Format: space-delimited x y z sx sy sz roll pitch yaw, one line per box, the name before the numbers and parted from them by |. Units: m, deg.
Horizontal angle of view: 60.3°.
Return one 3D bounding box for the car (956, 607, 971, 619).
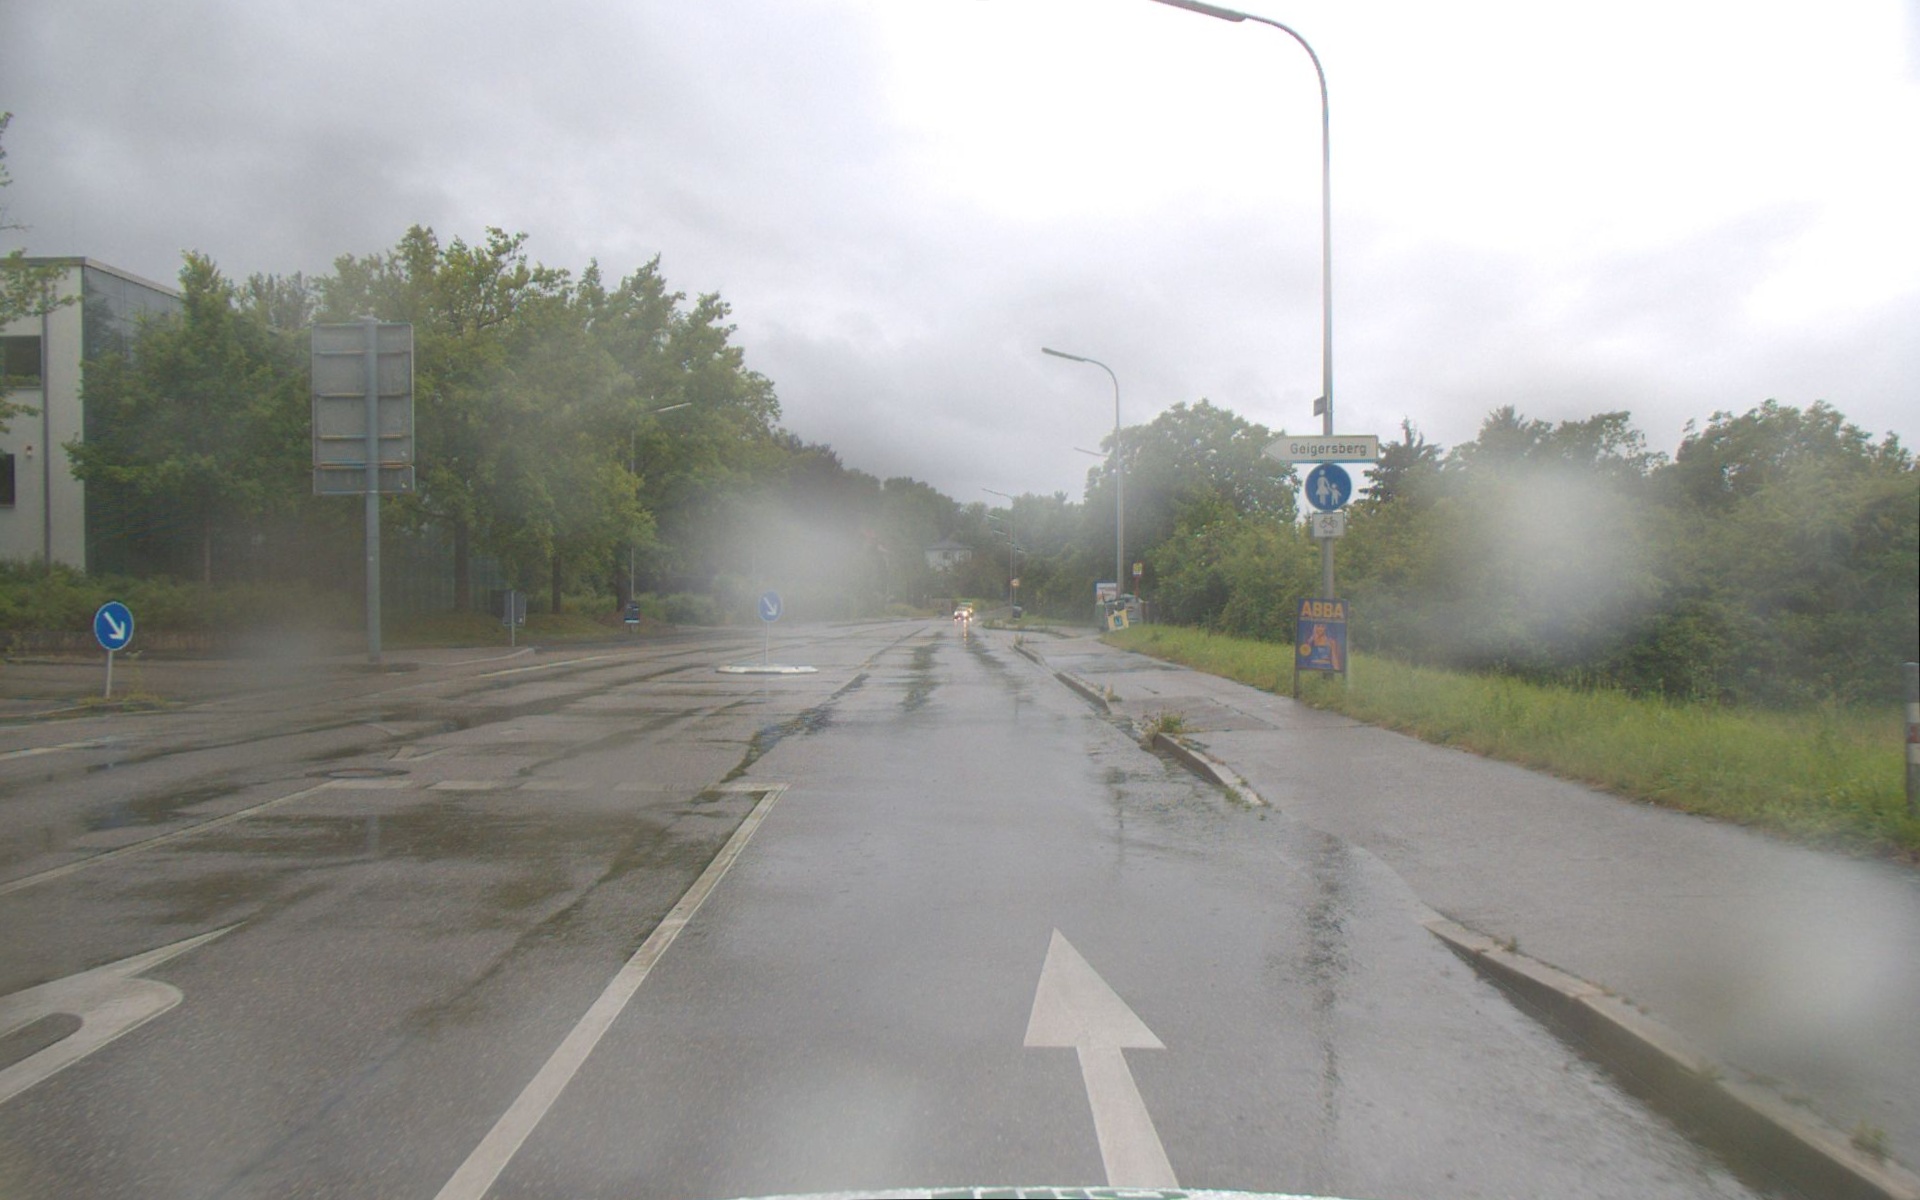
car | 0.425 1.545 197.413 1.666 1.373 3.906 0 0 1
